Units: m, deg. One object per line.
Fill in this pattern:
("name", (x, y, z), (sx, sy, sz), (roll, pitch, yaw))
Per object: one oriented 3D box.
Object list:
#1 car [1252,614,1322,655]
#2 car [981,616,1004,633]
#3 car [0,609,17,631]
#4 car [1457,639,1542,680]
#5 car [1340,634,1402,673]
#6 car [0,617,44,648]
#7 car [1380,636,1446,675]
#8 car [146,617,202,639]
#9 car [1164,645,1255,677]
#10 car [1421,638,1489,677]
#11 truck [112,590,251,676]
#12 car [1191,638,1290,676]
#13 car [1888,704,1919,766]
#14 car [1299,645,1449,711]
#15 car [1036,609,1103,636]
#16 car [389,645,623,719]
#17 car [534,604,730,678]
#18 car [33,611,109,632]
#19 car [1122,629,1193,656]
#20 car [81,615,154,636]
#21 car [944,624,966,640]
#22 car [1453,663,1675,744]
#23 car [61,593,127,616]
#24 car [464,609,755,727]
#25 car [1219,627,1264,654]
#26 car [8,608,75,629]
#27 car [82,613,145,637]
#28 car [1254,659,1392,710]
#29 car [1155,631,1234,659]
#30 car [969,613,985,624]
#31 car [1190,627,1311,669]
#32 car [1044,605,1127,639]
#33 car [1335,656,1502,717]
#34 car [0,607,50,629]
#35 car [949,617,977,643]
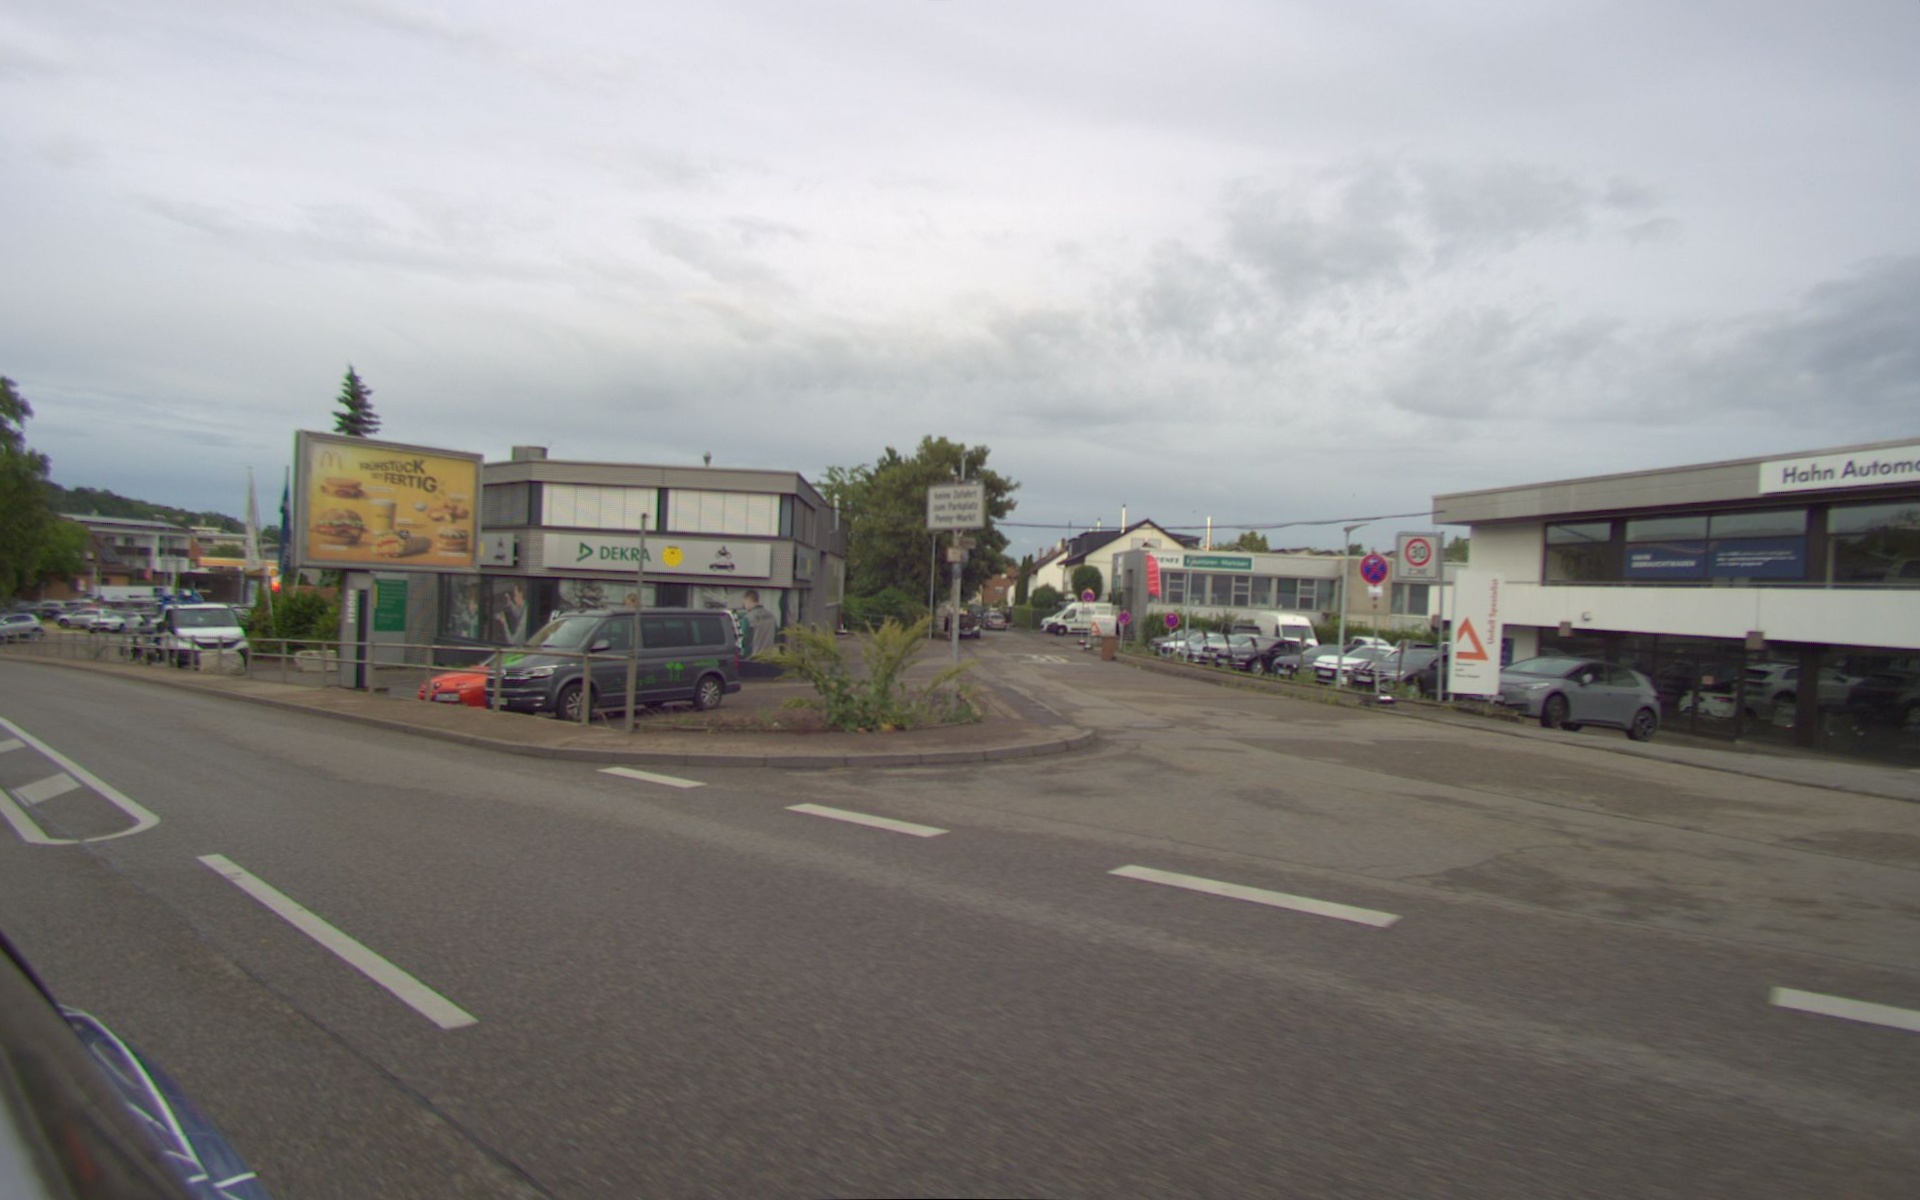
("car", (18.309, 1.869, 57.009), (1.972, 2.029, 5.879), (0, 1, 0))
("car", (2.753, 2.087, 86.306), (1.488, 1.470, 3.440), (1, -2, -6))
("car", (-73.116, 1.463, 75.515), (3.715, 1.562, 1.596), (2, -1, -8))
("car", (30.779, 3.331, 57.971), (1.972, 1.979, 5.379), (0, 1, 0))
("car", (23.221, 3.008, 57.339), (1.792, 2.029, 3.999), (3, -2, 0))
("car", (-52.077, 1.738, 54.529), (1.698, 1.582, 4.005), (0, 0, 3))
("car", (25.676, 3.134, 57.516), (1.882, 2.029, 3.999), (3, -2, 0))
("car", (-54.451, 1.900, 70.188), (1.798, 1.426, 4.022), (2, -1, -19))
("car", (10.481, 2.540, 42.511), (3.441, 1.299, 1.595), (1, -2, -23))
("car", (28.149, 3.236, 57.632), (1.828, 2.029, 3.999), (3, -2, 0))
("truck", (-26.865, 1.079, 34.774), (7.884, 2.653, 1.974), (0, -2, 39))
("car", (11.096, 2.236, 40.024), (3.530, 1.439, 1.588), (1, -2, -23))
("car", (25.530, 3.355, 25.014), (4.036, 1.439, 1.895), (1, -2, -15))
("car", (12.224, 2.259, 29.894), (3.921, 1.802, 1.826), (1, -2, -23))
("car", (8.680, 1.773, 80.810), (5.026, 2.105, 2.148), (0, 0, -2))
("car", (-9.005, 1.573, 20.434), (1.762, 1.277, 4.064), (0, -2, 29))
("car", (-9.050, 1.112, 28.215), (4.810, 2.002, 1.999), (0, -1, 1))
("car", (-64.697, 1.558, 73.696), (3.988, 1.463, 1.790), (2, -1, 1))
("car", (9.307, 1.996, 47.607), (3.010, 1.197, 1.386), (1, -2, -23))
("car", (-63.467, 1.913, 76.269), (3.988, 1.463, 1.790), (2, -1, 1))
("car", (-0.418, 2.413, 77.312), (1.360, 1.197, 3.067), (1, -2, -6))
("car", (12.449, 2.065, 20.880), (4.034, 1.439, 1.896), (1, -2, -23))
("car", (-87.348, 0.511, 102.209), (2.026, 2.102, 5.252), (1, -2, 2))
("car", (-6.277, 1.164, 18.793), (1.818, 1.885, 5.025), (0, -2, 33))
("car", (15.768, 2.258, 56.853), (1.512, 1.502, 3.065), (0, -2, -3))
("car", (-73.562, 1.507, 81.116), (3.715, 1.562, 1.596), (2, -1, -8))
("car", (-57.905, 1.679, 69.300), (1.760, 1.521, 4.056), (2, -1, -16))
("car", (11.562, 2.648, 32.253), (3.921, 1.439, 1.850), (1, -2, -23))
("car", (10.498, 2.015, 45.296), (3.205, 1.188, 1.456), (1, -2, -23))
("car", (1.873, 2.020, 112.232), (1.360, 1.197, 3.067), (1, -2, -6))
("car", (10.556, 1.718, 36.764), (3.921, 1.439, 1.850), (1, -2, -23))
("car", (9.231, 1.609, 74.956), (5.792, 2.387, 2.148), (0, 0, -2))
("car", (12.036, 2.221, 26.569), (3.921, 1.439, 1.785), (1, -2, -23))
("car", (-73.202, 1.384, 78.419), (3.715, 1.562, 1.596), (2, -1, -8))
("car", (0.176, 1.830, 61.787), (1.384, 1.559, 3.219), (1, -2, -6))
